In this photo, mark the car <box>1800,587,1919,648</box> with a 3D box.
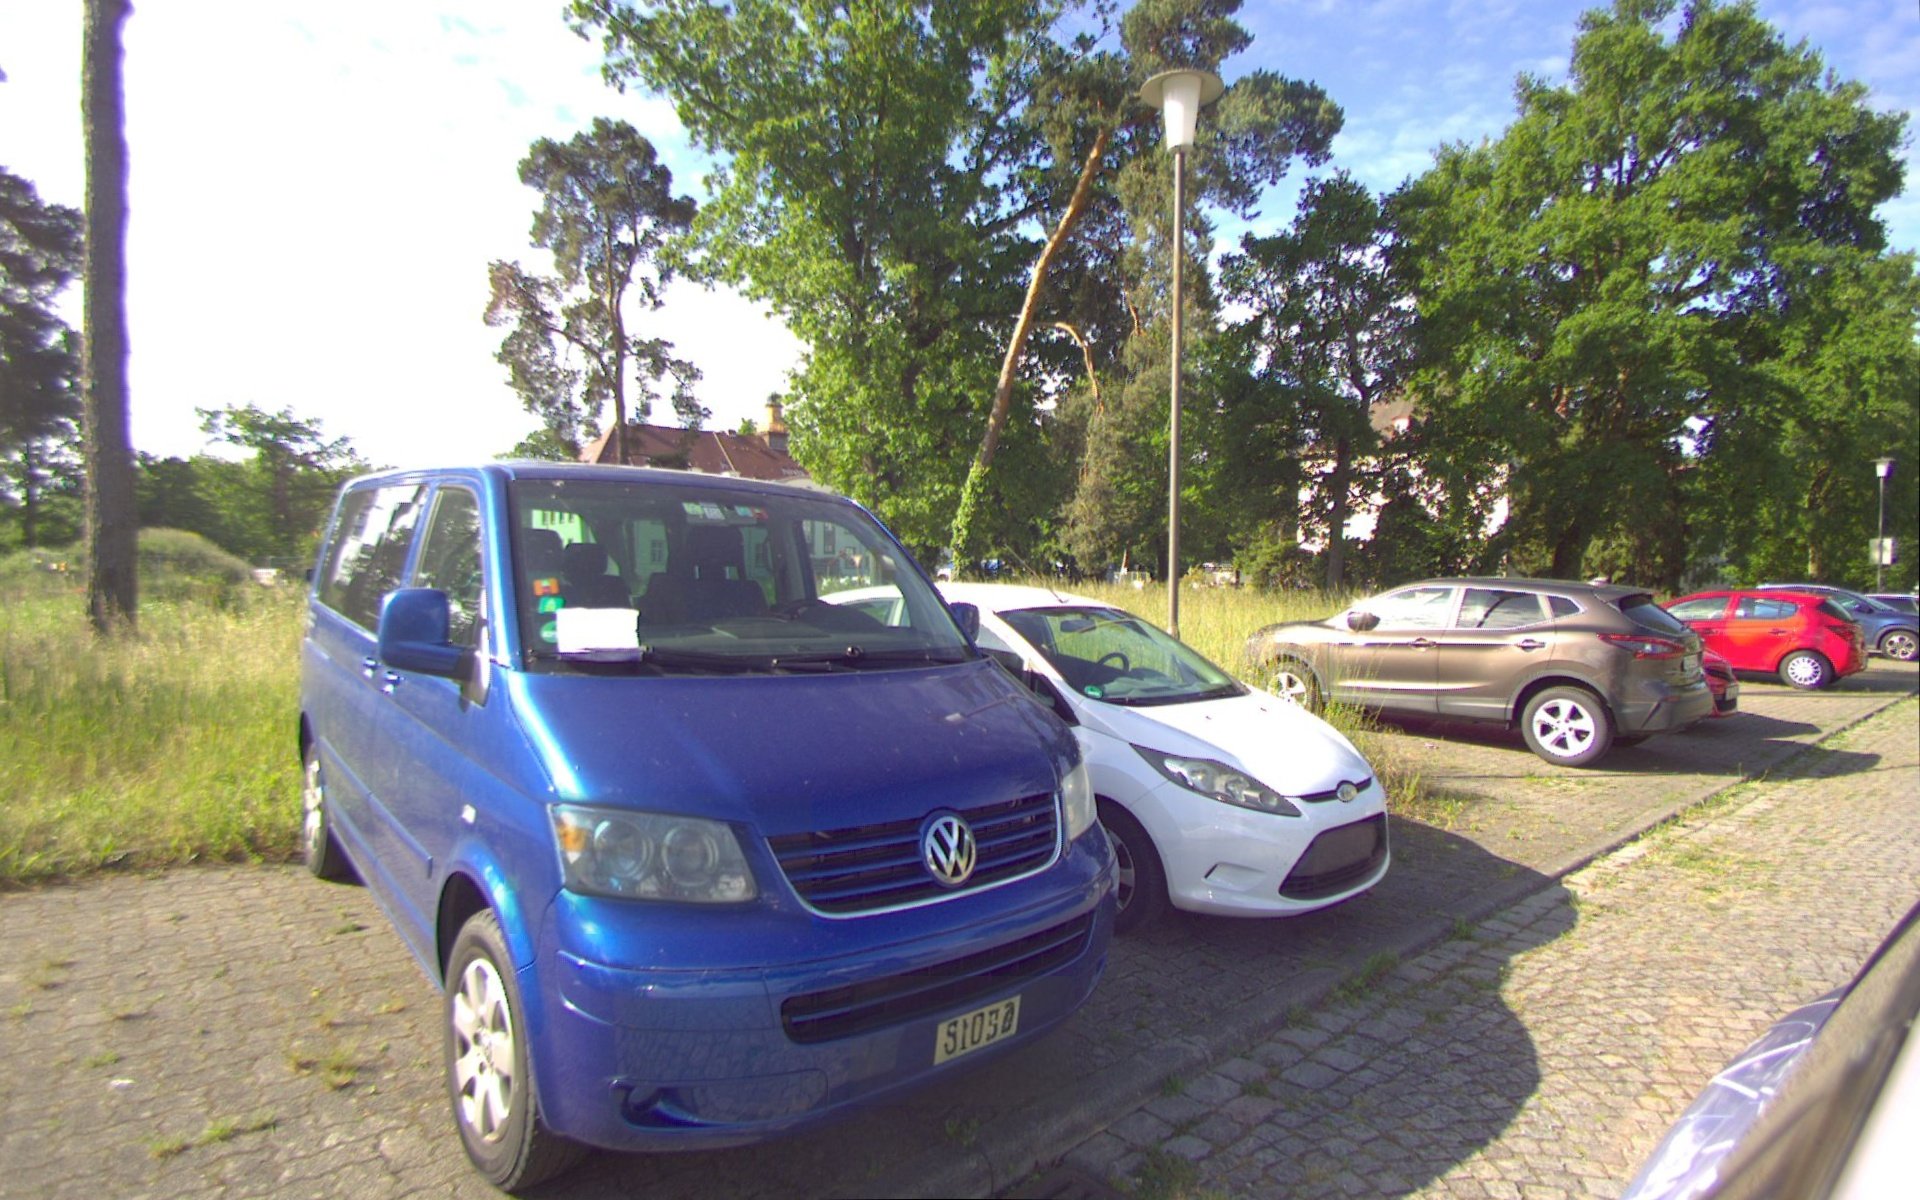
[{"bbox_3d":[24.129,0.427,25.894,1.716,1.484,3.809,0,1,-39],"label":"car"}]

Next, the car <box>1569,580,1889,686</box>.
[{"bbox_3d":[12.575,0.446,16.769,1.513,1.514,3.995,0,1,-40],"label":"car"}]

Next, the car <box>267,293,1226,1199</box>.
[{"bbox_3d":[-1.492,0.326,4.285,1.964,2.038,4.766,0,4,-40],"label":"car"}]

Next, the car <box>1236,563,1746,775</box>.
[{"bbox_3d":[5.022,0.476,10.037,1.755,1.631,4.114,0,2,-41],"label":"car"}]

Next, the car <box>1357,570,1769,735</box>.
[{"bbox_3d":[6.962,0.470,12.008,1.673,1.557,3.834,0,3,-39],"label":"car"}]

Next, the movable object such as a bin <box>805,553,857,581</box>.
[{"bbox_3d":[-13.537,-3.463,106.401,4.975,2.937,2.182,0,2,-34],"label":"movable object such as a bin"}]

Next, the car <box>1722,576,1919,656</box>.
[{"bbox_3d":[20.324,0.324,23.212,1.622,1.618,4.272,0,3,-40],"label":"car"}]

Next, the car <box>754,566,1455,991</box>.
[{"bbox_3d":[0.510,0.615,5.681,1.582,1.484,3.726,0,3,-42],"label":"car"}]
